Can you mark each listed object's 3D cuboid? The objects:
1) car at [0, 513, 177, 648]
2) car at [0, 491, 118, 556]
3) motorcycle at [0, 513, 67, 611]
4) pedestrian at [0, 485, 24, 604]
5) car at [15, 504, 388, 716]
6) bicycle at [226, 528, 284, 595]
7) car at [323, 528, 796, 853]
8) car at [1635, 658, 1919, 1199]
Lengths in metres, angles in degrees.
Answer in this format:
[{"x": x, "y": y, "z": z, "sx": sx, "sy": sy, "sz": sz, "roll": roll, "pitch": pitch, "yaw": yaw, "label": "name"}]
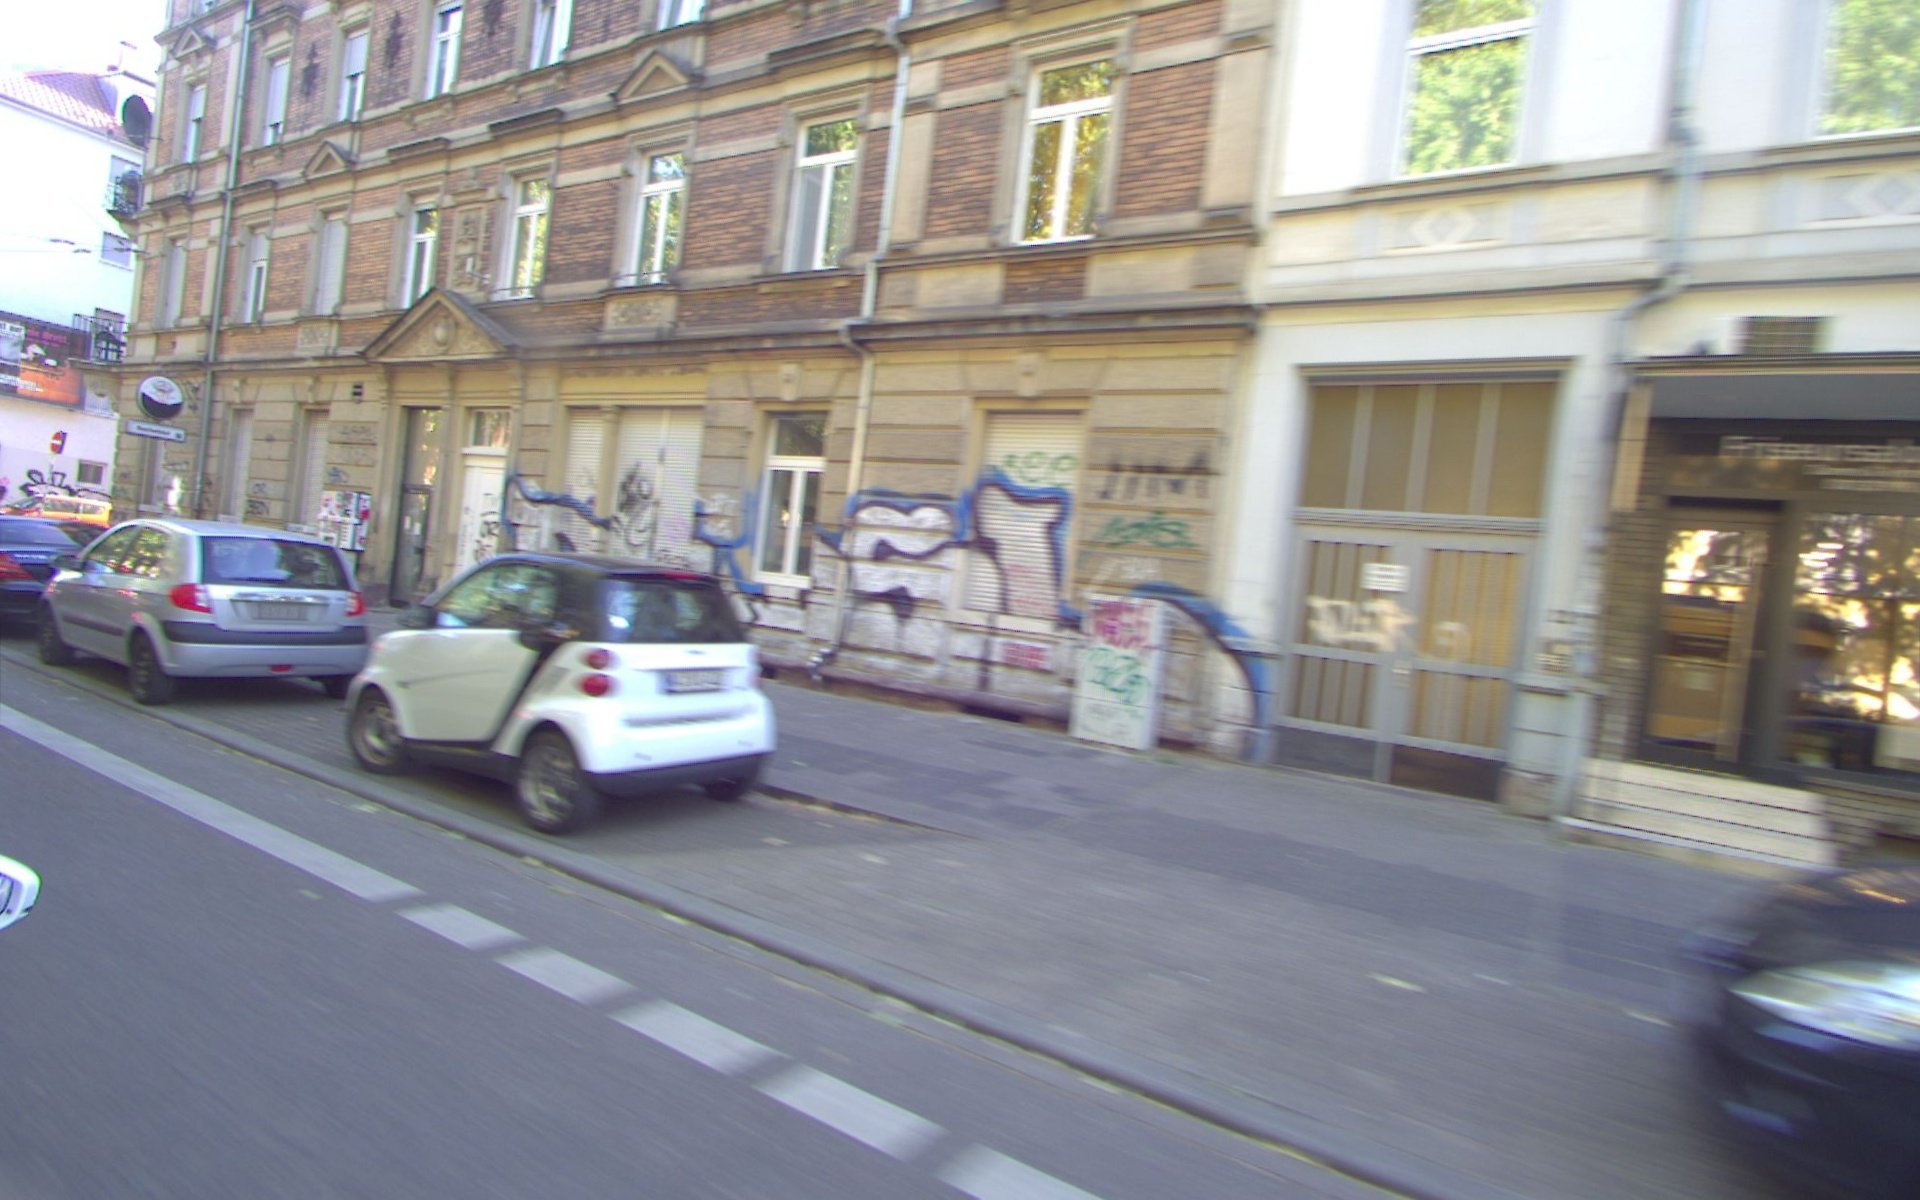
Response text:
[{"x": -10.915, "y": -0.304, "z": 11.711, "sx": 3.663, "sy": 1.289, "sz": 1.649, "roll": 6, "pitch": 2, "yaw": 32, "label": "car"}, {"x": -28.618, "y": -2.419, "z": 31.049, "sx": 1.763, "sy": 1.593, "sz": 3.649, "roll": 7, "pitch": 0, "yaw": 37, "label": "car"}, {"x": -13.457, "y": -0.566, "z": 13.530, "sx": 0.631, "sy": 1.305, "sz": 2.142, "roll": 7, "pitch": 0, "yaw": 10, "label": "motorcycle"}, {"x": -14.008, "y": -0.832, "z": 14.297, "sx": 0.705, "sy": 1.677, "sz": 0.764, "roll": 7, "pitch": 1, "yaw": 33, "label": "pedestrian"}, {"x": -7.129, "y": 0.013, "z": 9.364, "sx": 3.681, "sy": 1.471, "sz": 1.606, "roll": 7, "pitch": 2, "yaw": 34, "label": "car"}, {"x": -13.719, "y": -0.759, "z": 19.559, "sx": 1.350, "sy": 1.168, "sz": 0.378, "roll": 7, "pitch": 1, "yaw": 34, "label": "bicycle"}, {"x": -2.689, "y": 0.441, "z": 6.679, "sx": 2.774, "sy": 1.564, "sz": 1.510, "roll": 7, "pitch": 4, "yaw": 32, "label": "car"}, {"x": 4.027, "y": 1.182, "z": 2.366, "sx": 3.842, "sy": 1.527, "sz": 1.629, "roll": 7, "pitch": 5, "yaw": 32, "label": "car"}]
